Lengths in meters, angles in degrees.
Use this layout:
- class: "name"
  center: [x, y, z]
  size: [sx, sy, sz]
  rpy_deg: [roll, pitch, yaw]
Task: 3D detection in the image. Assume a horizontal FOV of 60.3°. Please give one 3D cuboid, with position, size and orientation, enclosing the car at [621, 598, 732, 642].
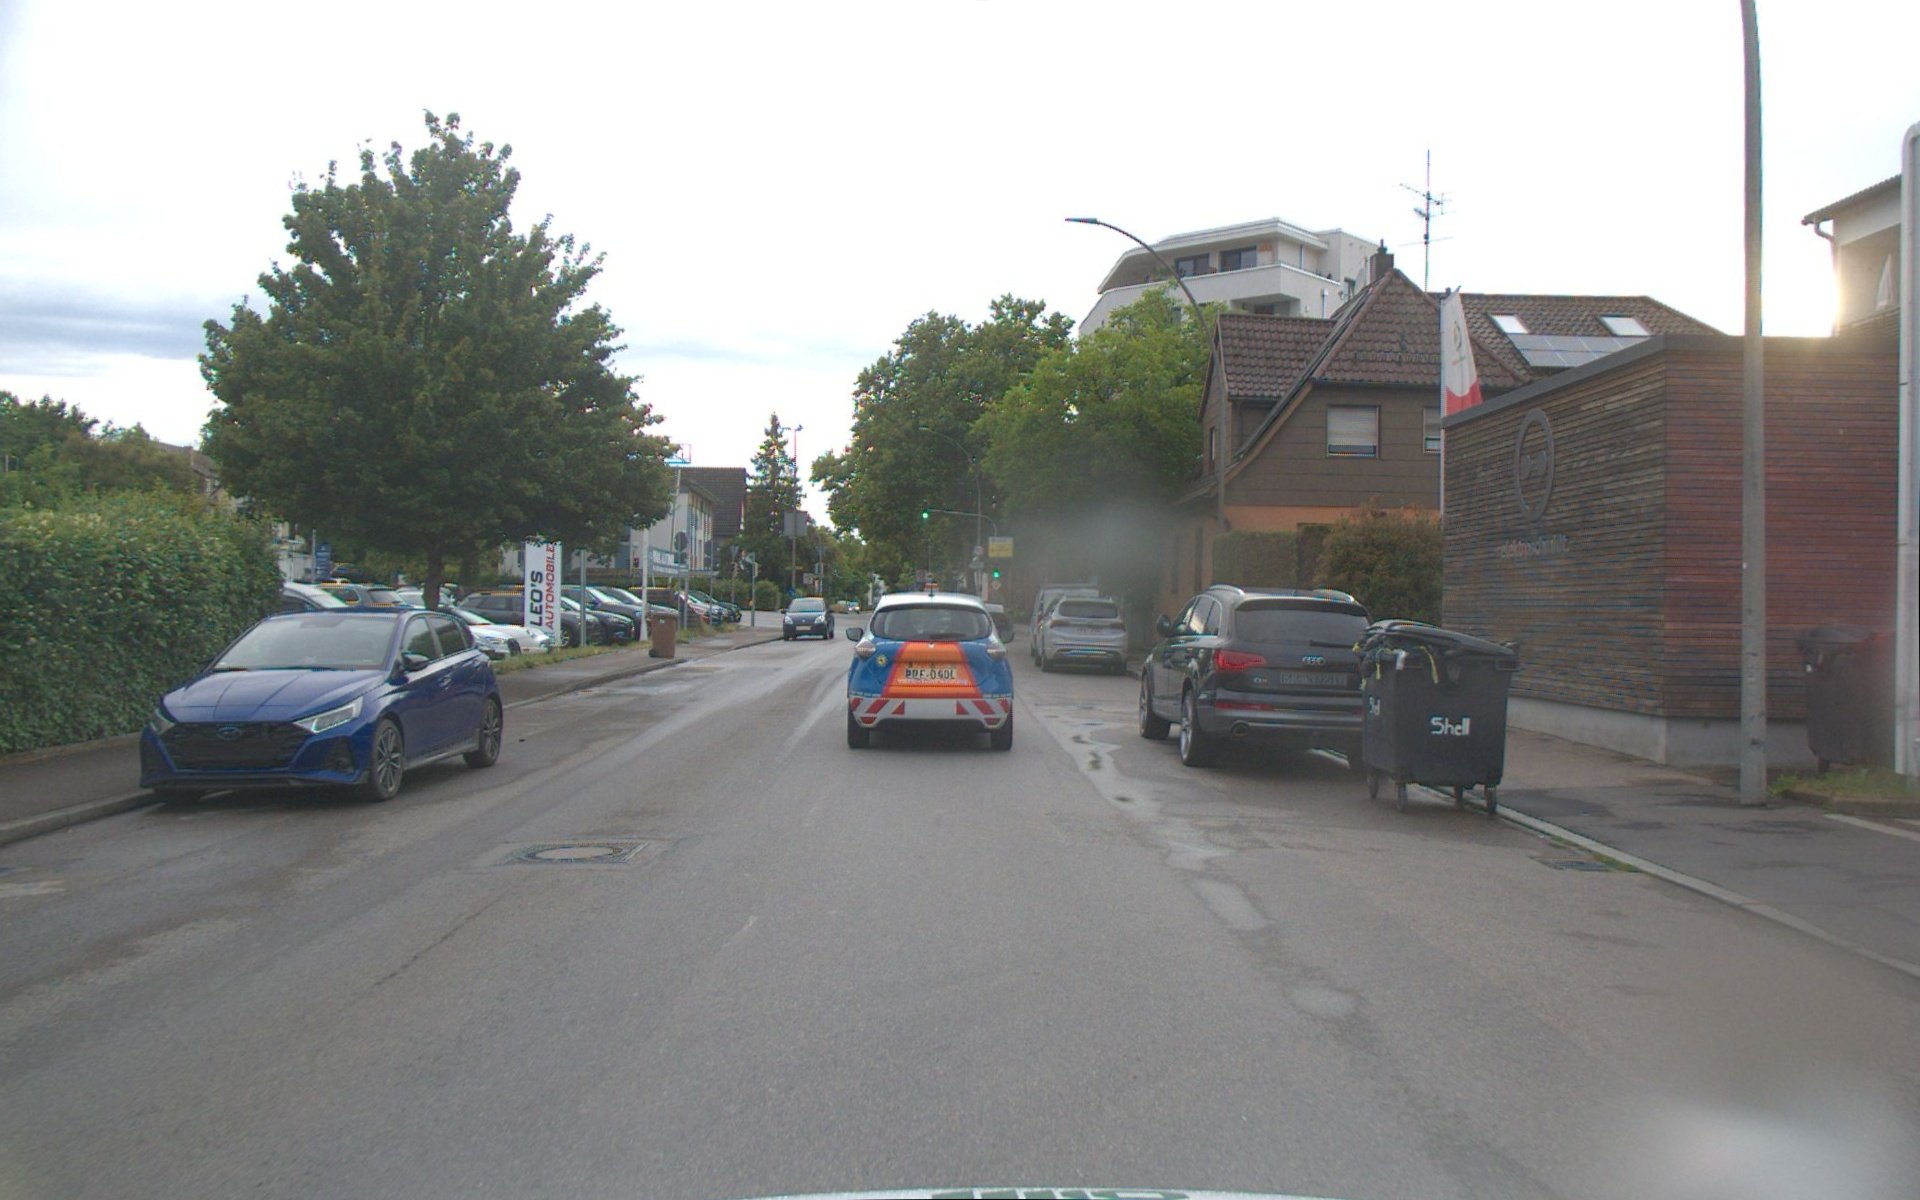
- class: "car"
  center: [-10.876, 0.754, 63.672]
  size: [3.904, 1.571, 1.804]
  rpy_deg: [2, 0, 1]

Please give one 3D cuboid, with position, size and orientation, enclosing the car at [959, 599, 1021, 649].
- class: "car"
  center: [1.055, 0.828, 59.663]
  size: [1.954, 1.601, 3.998]
  rpy_deg: [2, 1, -3]

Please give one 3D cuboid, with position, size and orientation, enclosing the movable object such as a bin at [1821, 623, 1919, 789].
- class: "movable object such as a bin"
  center: [8.446, 0.893, 14.455]
  size: [1.080, 1.363, 1.384]
  rpy_deg: [0, 0, -3]

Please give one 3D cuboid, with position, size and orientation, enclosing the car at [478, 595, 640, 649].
- class: "car"
  center: [-11.788, 0.638, 48.797]
  size: [4.258, 1.489, 1.941]
  rpy_deg: [1, 0, 0]

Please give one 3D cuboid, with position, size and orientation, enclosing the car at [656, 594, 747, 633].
- class: "car"
  center: [-11.484, 0.594, 73.366]
  size: [3.876, 1.557, 1.618]
  rpy_deg: [2, 1, -11]

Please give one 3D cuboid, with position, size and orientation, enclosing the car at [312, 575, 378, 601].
- class: "car"
  center: [-44.321, -0.838, 119.271]
  size: [1.960, 1.753, 3.984]
  rpy_deg: [2, 1, 36]

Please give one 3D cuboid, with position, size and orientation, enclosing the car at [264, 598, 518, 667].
- class: "car"
  center: [-11.444, 0.644, 33.504]
  size: [4.465, 1.332, 1.888]
  rpy_deg: [0, 0, -1]

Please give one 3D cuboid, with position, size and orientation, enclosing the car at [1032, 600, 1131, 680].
- class: "car"
  center: [2.722, 0.864, 37.907]
  size: [1.828, 1.694, 4.319]
  rpy_deg: [1, 0, -1]

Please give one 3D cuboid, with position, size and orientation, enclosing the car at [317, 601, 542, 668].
- class: "car"
  center: [-11.543, 0.738, 36.191]
  size: [4.287, 1.398, 1.888]
  rpy_deg: [0, 0, -1]

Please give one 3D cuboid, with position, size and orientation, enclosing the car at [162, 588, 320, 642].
- class: "car"
  center: [-21.527, 0.436, 49.637]
  size: [3.907, 1.557, 1.836]
  rpy_deg: [0, 0, -3]

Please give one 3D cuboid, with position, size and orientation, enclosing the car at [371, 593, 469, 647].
- class: "car"
  center: [-16.242, 0.570, 49.947]
  size: [1.657, 1.557, 4.000]
  rpy_deg: [0, 0, 0]

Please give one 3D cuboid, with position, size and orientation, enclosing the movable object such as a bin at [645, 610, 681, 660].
- class: "movable object such as a bin"
  center: [-7.003, 0.827, 39.057]
  size: [0.693, 1.150, 0.735]
  rpy_deg: [1, 0, -1]

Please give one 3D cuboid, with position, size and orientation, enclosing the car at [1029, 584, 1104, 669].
- class: "car"
  center: [2.783, 0.644, 44.061]
  size: [1.741, 2.064, 4.755]
  rpy_deg: [2, 1, 2]

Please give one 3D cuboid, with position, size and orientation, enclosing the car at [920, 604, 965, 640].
- class: "car"
  center: [-0.833, 0.988, 75.685]
  size: [1.759, 1.453, 3.997]
  rpy_deg: [2, 1, -4]

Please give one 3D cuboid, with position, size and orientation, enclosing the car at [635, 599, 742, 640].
- class: "car"
  center: [-10.852, 0.765, 66.183]
  size: [3.904, 1.466, 1.804]
  rpy_deg: [2, 0, 1]

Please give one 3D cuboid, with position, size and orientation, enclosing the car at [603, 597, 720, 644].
- class: "car"
  center: [-10.965, 0.741, 60.921]
  size: [3.904, 1.571, 1.804]
  rpy_deg: [2, 0, 1]

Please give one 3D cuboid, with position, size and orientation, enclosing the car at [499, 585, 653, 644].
- class: "car"
  center: [-11.828, 0.433, 51.163]
  size: [4.258, 1.721, 2.058]
  rpy_deg: [1, 0, 0]

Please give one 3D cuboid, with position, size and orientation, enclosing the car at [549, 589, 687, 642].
- class: "car"
  center: [-11.644, 0.525, 56.536]
  size: [4.258, 1.720, 1.959]
  rpy_deg: [1, 0, 0]

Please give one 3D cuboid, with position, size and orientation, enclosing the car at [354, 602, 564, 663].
- class: "car"
  center: [-11.635, 0.752, 38.606]
  size: [4.361, 1.355, 1.771]
  rpy_deg: [0, 0, -1]

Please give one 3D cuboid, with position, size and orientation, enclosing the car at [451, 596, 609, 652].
- class: "car"
  center: [-11.985, 0.663, 46.306]
  size: [3.905, 1.489, 1.839]
  rpy_deg: [1, 0, 0]

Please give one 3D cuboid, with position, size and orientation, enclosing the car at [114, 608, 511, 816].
- class: "car"
  center: [-5.123, 0.799, 13.693]
  size: [1.770, 1.427, 3.944]
  rpy_deg: [-1, 0, -1]

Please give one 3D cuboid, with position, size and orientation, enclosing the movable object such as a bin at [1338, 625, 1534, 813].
- class: "movable object such as a bin"
  center: [3.832, 0.925, 13.453]
  size: [1.104, 1.413, 1.503]
  rpy_deg: [0, 0, -3]

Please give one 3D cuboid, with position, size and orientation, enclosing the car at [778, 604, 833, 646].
- class: "car"
  center: [-5.575, 0.871, 59.958]
  size: [1.593, 1.458, 3.684]
  rpy_deg: [0, 0, 1]

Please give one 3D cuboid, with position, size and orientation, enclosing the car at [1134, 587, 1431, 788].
- class: "car"
  center: [3.118, 0.767, 17.040]
  size: [2.049, 1.691, 4.558]
  rpy_deg: [2, 1, -1]

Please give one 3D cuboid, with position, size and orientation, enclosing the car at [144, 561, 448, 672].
- class: "car"
  center: [-11.351, 0.279, 28.546]
  size: [4.468, 1.821, 1.896]
  rpy_deg: [0, 0, -5]

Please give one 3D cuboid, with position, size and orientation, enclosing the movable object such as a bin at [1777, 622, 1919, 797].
- class: "movable object such as a bin"
  center: [7.733, 0.879, 13.830]
  size: [1.080, 1.363, 1.384]
  rpy_deg: [0, 0, -3]

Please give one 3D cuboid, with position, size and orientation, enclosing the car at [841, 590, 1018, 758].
- class: "car"
  center: [-0.328, 0.710, 18.030]
  size: [1.710, 1.608, 3.999]
  rpy_deg: [0, 1, -1]
